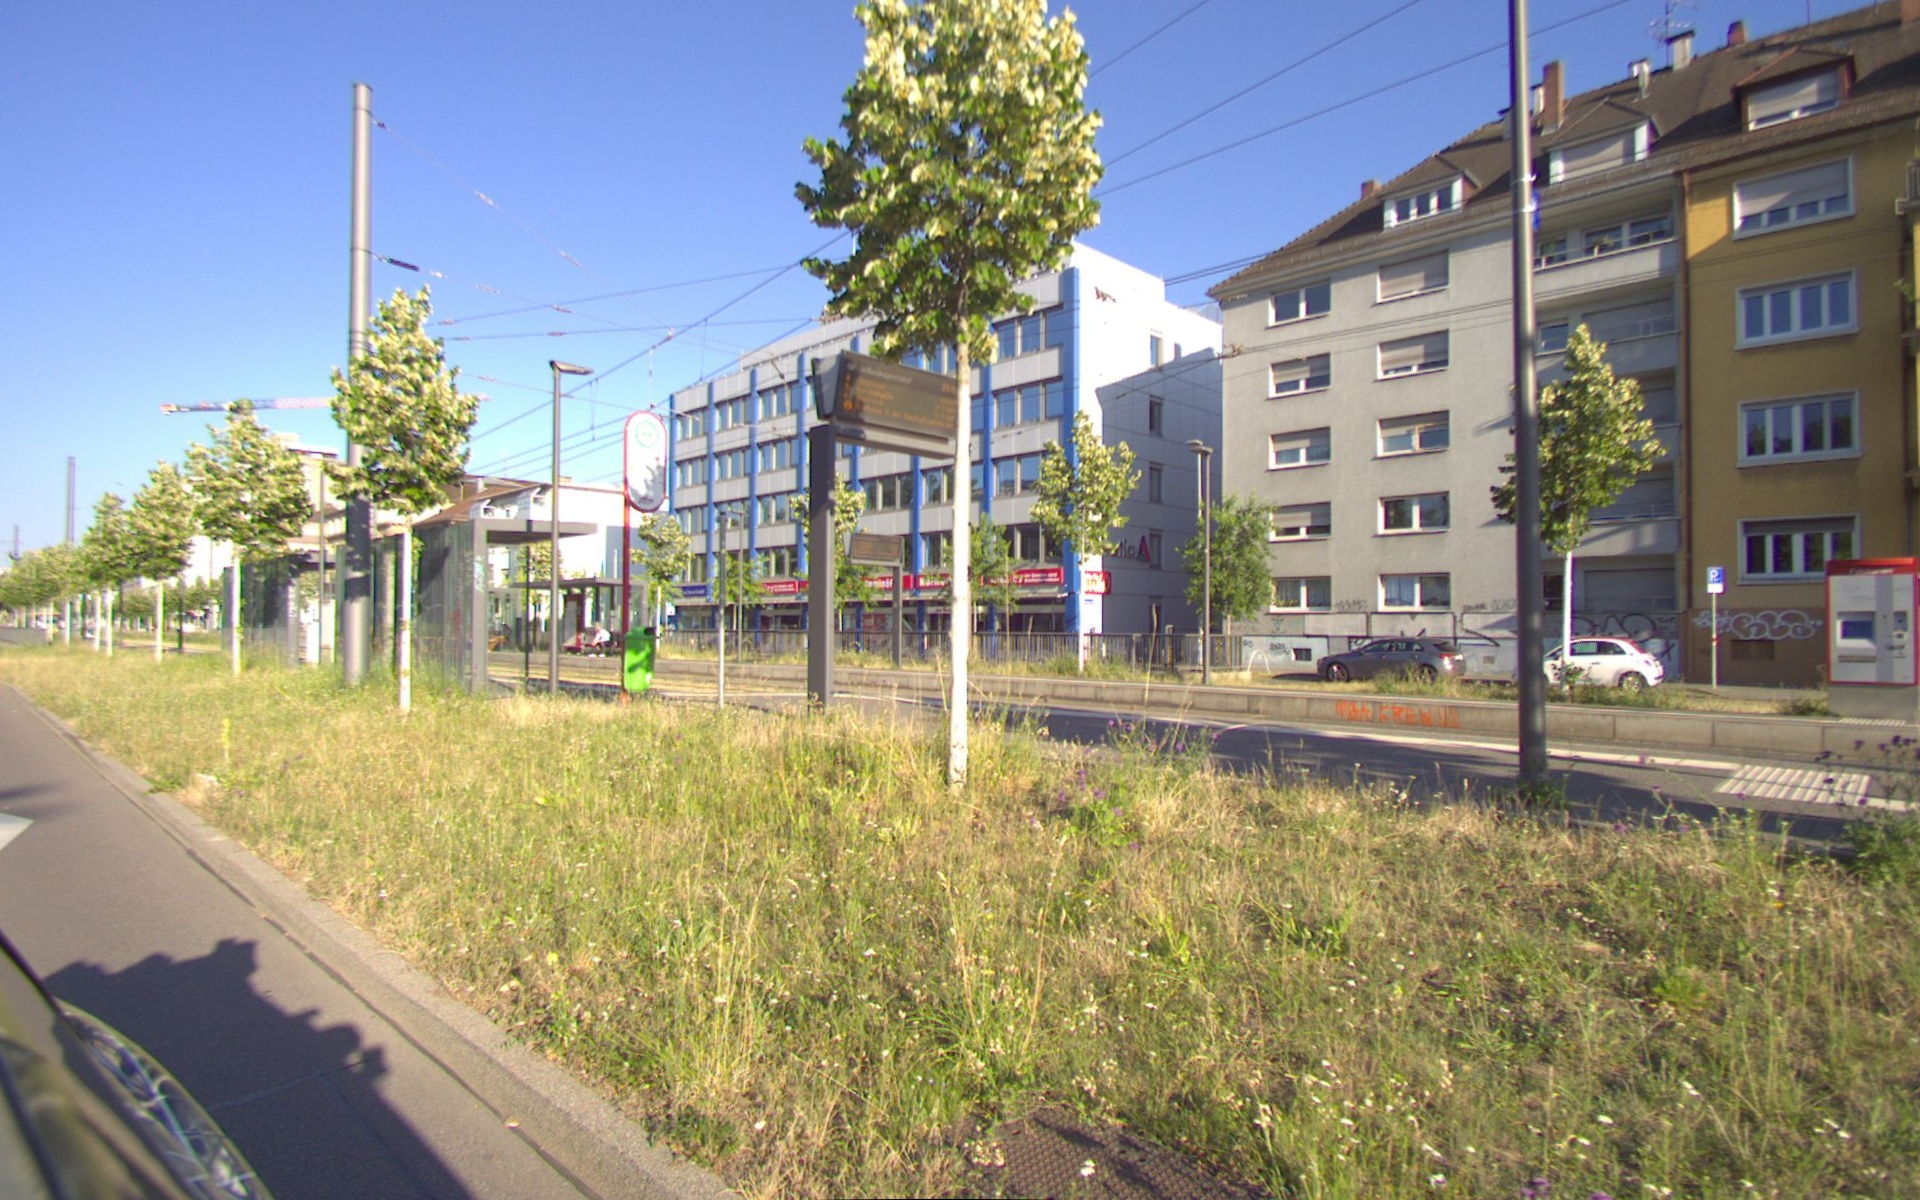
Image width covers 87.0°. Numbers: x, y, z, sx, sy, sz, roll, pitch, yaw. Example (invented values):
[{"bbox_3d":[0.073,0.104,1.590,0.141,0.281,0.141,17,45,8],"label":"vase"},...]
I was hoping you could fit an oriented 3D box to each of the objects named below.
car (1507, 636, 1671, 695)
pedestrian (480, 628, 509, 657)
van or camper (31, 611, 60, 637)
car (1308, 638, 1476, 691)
[{"bbox_3d":[17.257,1.749,27.833,3.553,1.497,1.728,-2,-3,44],"label":"car"},{"bbox_3d":[-19.817,1.798,43.079,0.764,1.206,0.923,-2,-3,44],"label":"pedestrian"},{"bbox_3d":[-113.609,2.975,125.684,2.475,3.192,7.483,1,-2,-43],"label":"van or camper"},{"bbox_3d":[13.442,1.949,31.634,4.432,1.519,1.971,-2,-3,44],"label":"car"}]
